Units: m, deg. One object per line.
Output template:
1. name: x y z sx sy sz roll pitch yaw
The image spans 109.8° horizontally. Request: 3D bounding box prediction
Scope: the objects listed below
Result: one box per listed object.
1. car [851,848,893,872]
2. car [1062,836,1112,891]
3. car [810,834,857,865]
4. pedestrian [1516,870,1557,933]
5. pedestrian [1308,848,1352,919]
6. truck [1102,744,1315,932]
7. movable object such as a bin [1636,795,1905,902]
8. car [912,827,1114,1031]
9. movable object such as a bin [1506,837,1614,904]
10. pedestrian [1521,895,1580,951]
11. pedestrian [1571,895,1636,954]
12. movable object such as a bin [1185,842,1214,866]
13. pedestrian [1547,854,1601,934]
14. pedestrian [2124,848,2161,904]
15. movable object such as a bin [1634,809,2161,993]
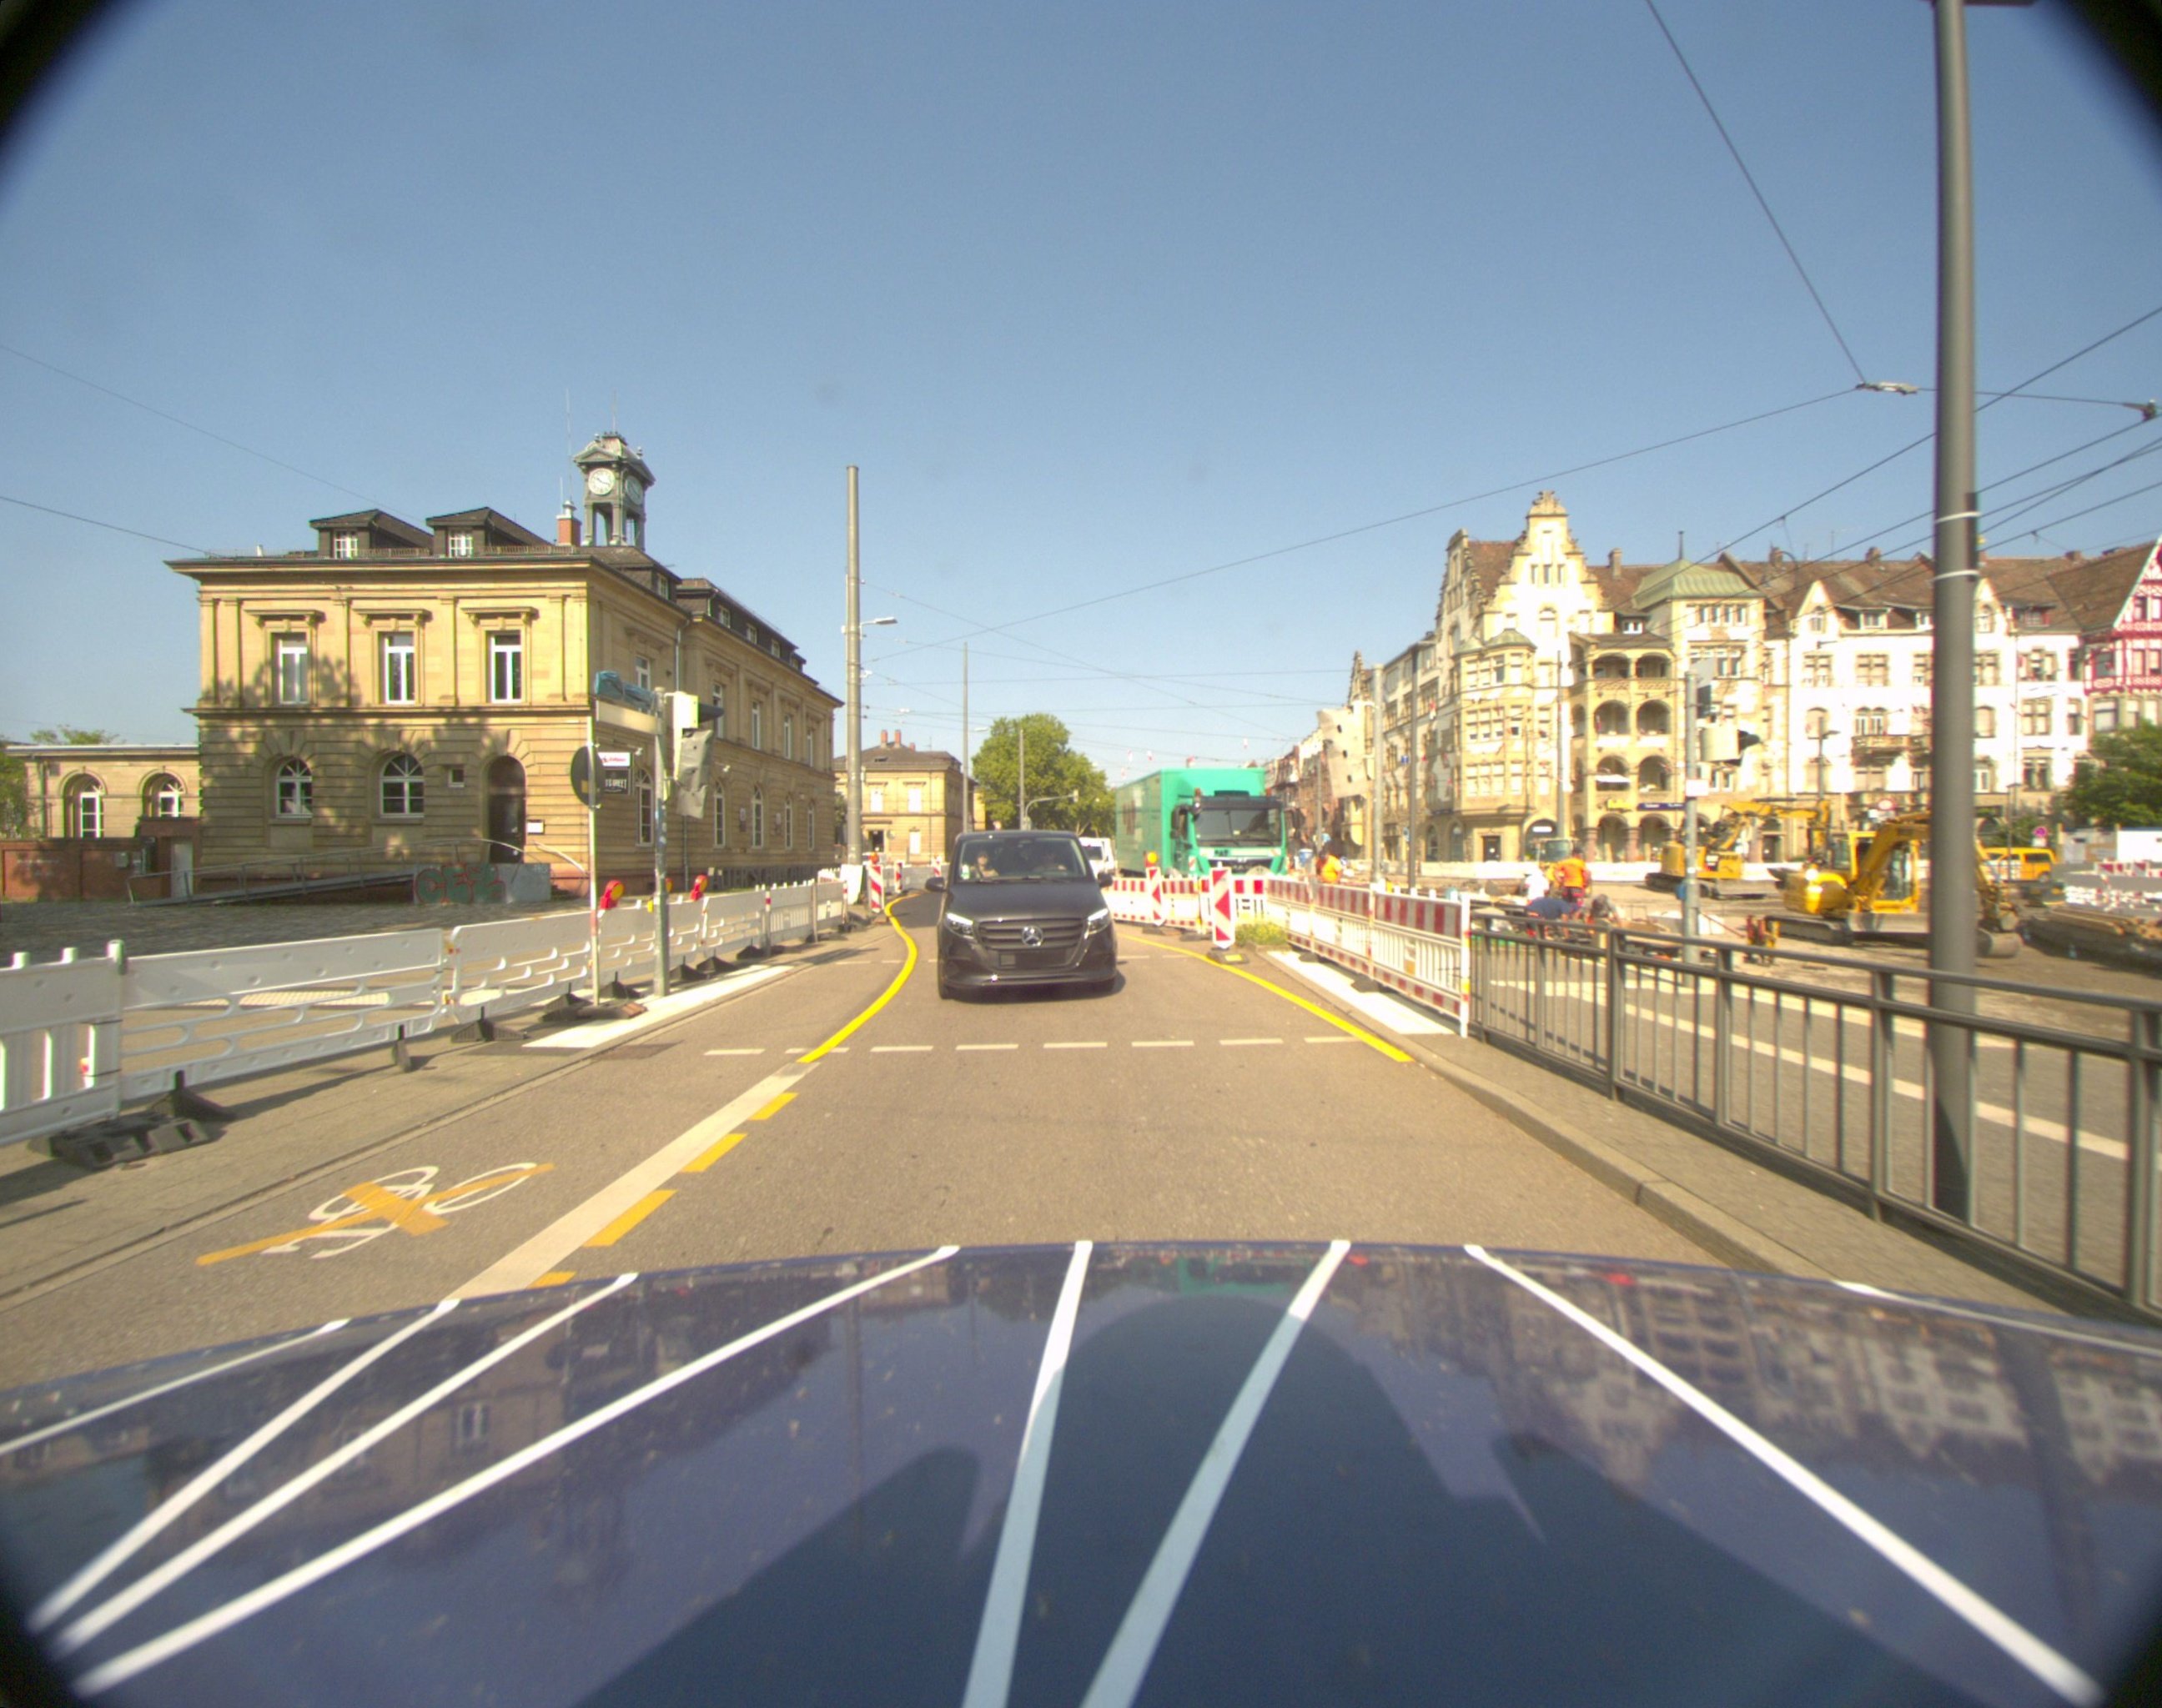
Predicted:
1. car: -17.117 0.517 62.395 1.907 1.772 4.228 1 -2 6
2. car: 0.346 0.374 37.140 2.213 2.410 7.199 0 1 1
3. car: -20.700 -0.374 63.754 2.264 2.409 5.487 0 0 -2
4. pedestrian: 11.514 1.179 19.221 0.701 1.557 0.557 0 0 6
5. pedestrian: 5.594 0.660 17.085 0.762 1.557 0.691 0 0 1
6. truck: 2.852 -0.331 20.174 2.802 3.889 8.411 -2 0 -10
7. movable object such as a bin: 30.239 -0.303 33.983 7.367 4.323 4.974 0 2 15
8. car: -0.834 0.689 9.306 1.854 1.875 4.176 -2 1 -6
9. movable object such as a bin: 21.703 0.683 34.414 4.825 2.818 2.443 0 1 -35
10. pedestrian: 8.279 1.200 13.424 0.820 0.920 0.513 0 0 25
11. pedestrian: 9.452 1.255 13.773 0.512 0.982 0.935 0 0 -3
12. movable object such as a bin: 7.901 0.014 50.733 1.603 1.550 3.287 0 1 4
13. pedestrian: 9.900 0.774 15.257 0.816 1.557 0.558 0 0 41
14. pedestrian: 39.439 0.807 28.189 0.900 2.053 0.668 -1 1 -22
15. movable object such as a bin: 16.883 0.681 16.611 3.622 2.941 8.476 -2 1 2
